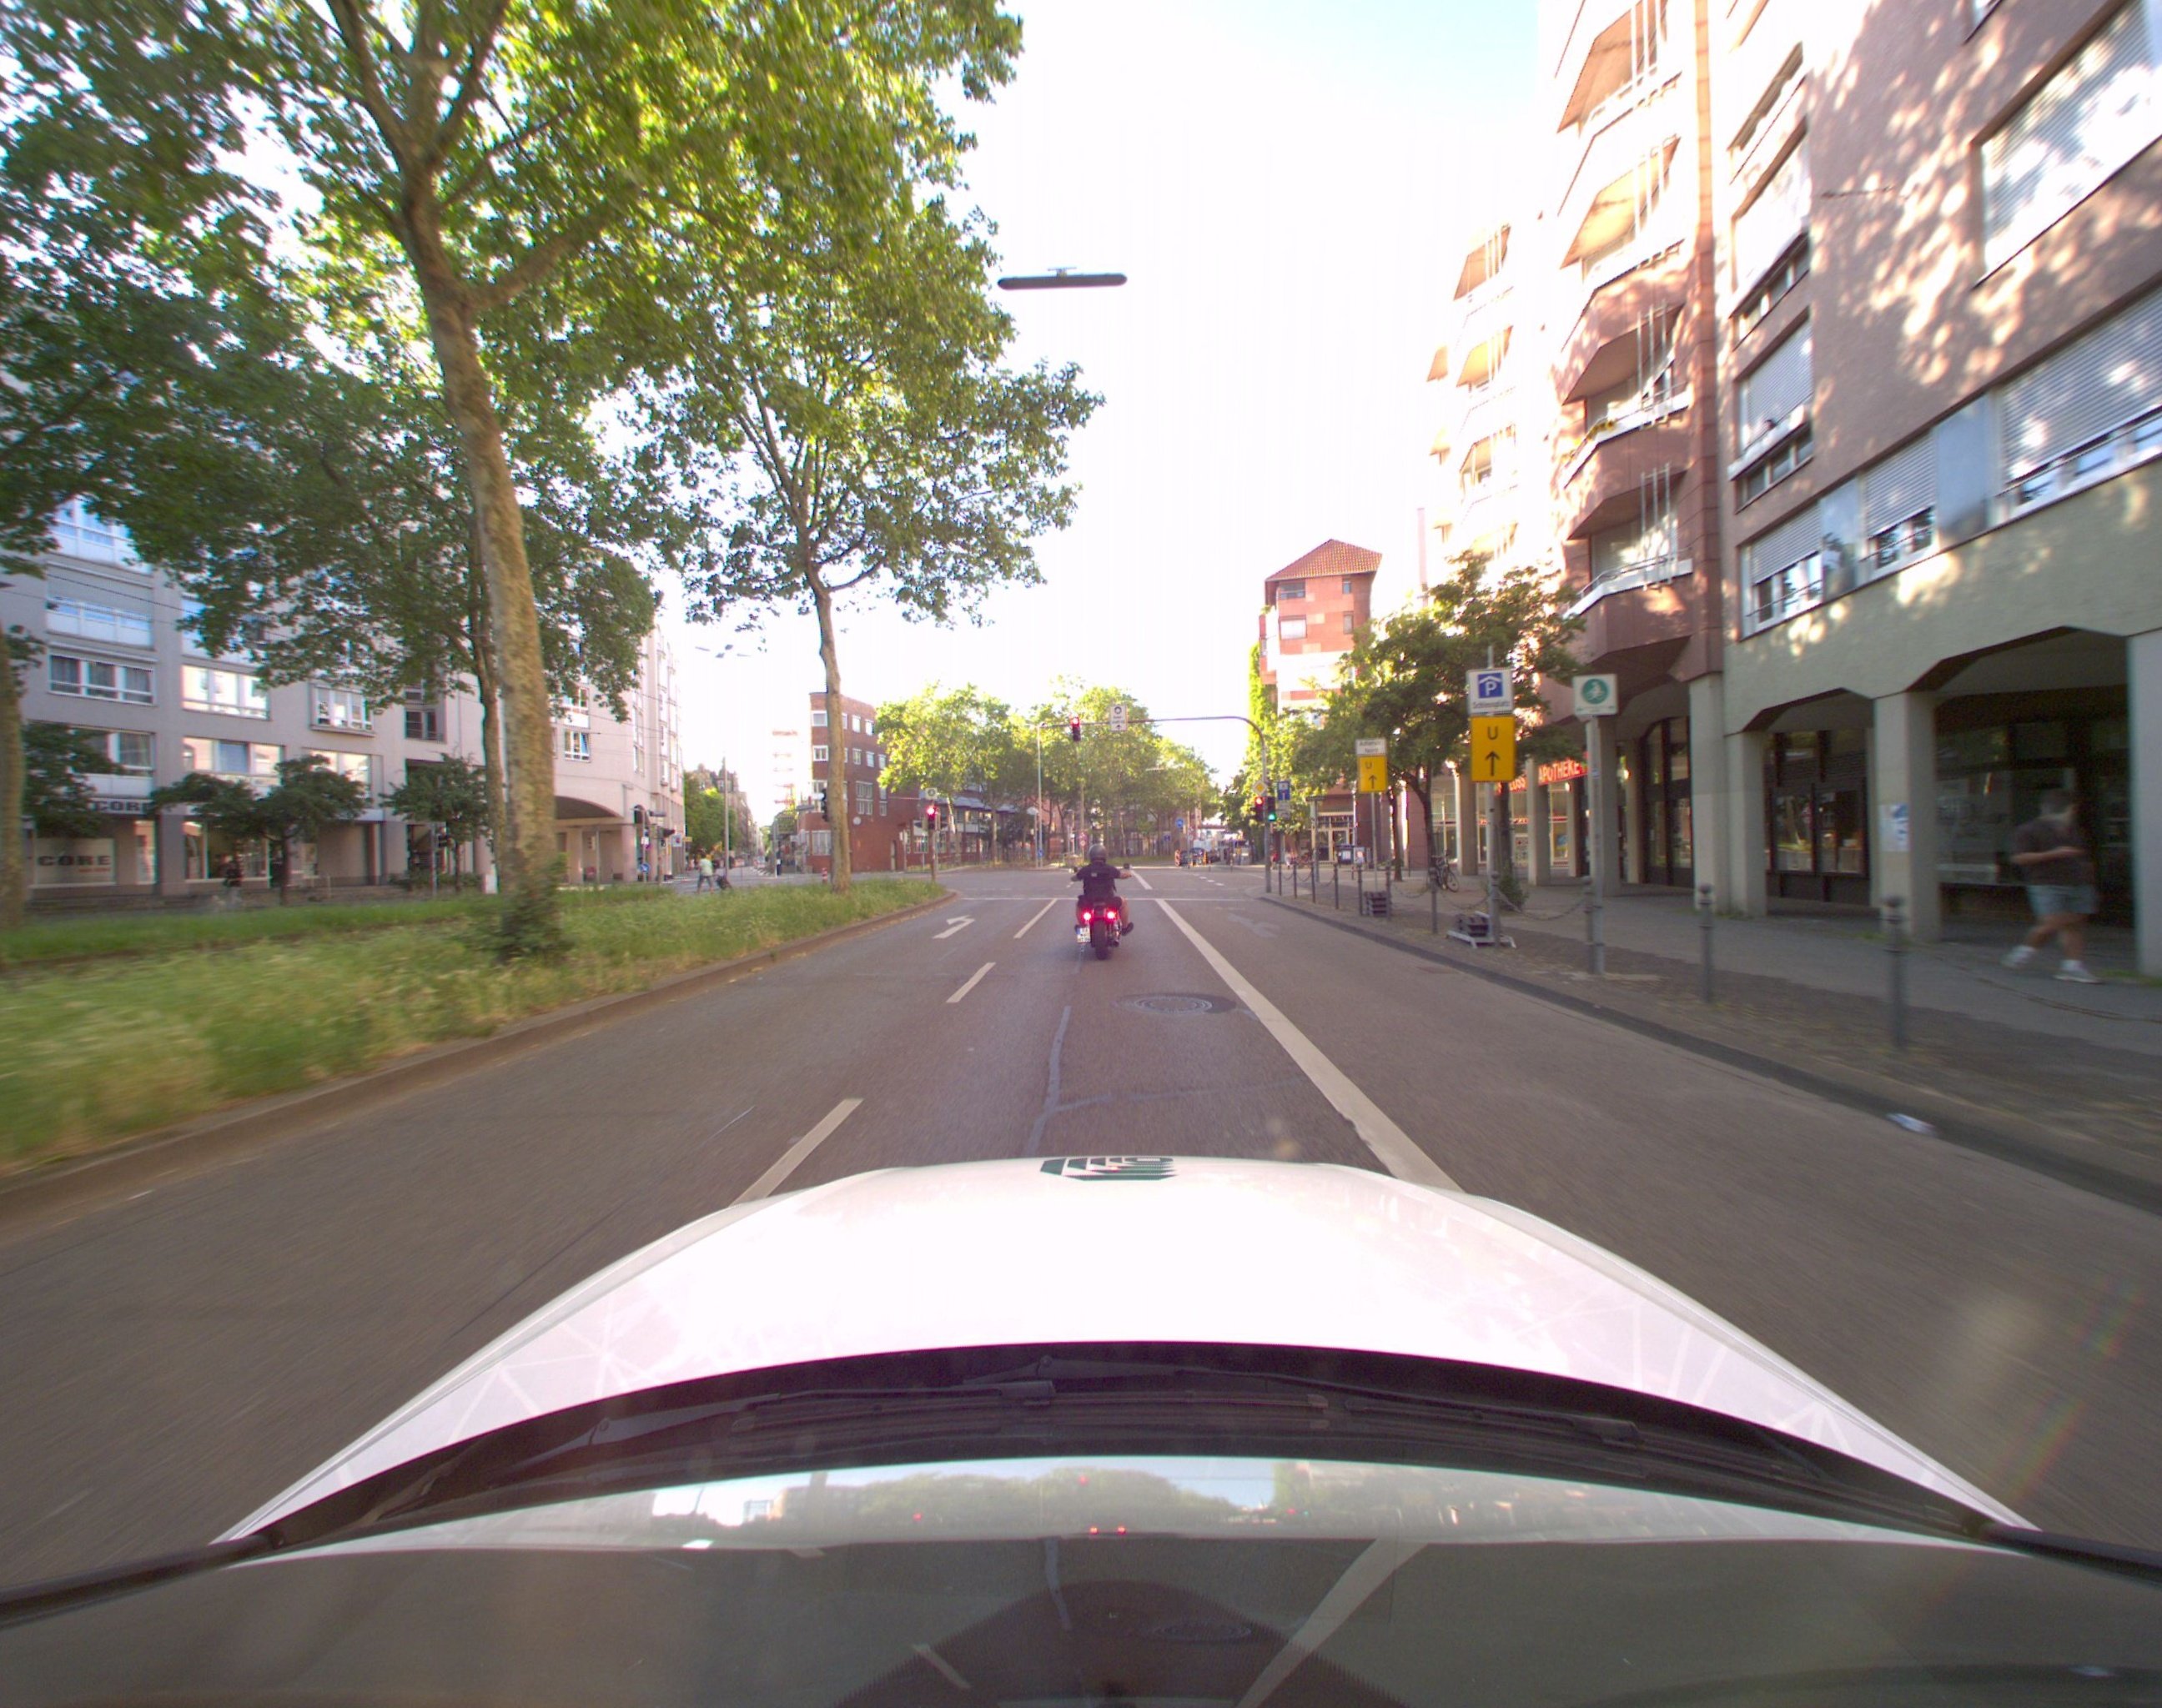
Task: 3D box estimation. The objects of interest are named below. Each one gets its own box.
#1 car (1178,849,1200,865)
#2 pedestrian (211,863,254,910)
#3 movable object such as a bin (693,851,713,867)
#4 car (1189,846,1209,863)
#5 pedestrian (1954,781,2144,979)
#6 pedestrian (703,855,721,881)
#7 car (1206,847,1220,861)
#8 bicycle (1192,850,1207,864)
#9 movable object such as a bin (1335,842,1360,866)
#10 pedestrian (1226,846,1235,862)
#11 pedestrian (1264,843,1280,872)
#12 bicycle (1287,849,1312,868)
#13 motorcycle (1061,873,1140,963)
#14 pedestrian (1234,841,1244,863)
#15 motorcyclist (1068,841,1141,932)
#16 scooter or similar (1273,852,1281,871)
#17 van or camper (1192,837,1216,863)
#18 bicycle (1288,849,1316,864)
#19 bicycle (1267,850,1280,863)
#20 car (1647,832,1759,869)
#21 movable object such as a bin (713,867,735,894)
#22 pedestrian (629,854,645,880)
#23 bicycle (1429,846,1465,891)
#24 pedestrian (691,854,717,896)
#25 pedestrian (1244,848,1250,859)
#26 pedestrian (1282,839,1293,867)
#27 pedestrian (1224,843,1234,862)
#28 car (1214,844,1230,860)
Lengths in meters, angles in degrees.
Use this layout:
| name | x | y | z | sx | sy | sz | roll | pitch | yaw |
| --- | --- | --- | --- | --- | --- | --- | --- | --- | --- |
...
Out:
| name | x | y | z | sx | sy | sz | roll | pitch | yaw |
| --- | --- | --- | --- | --- | --- | --- | --- | --- | --- |
| car | 9.408 | 0.281 | 70.573 | 1.610 | 1.302 | 4.325 | -1 | 0 | 11 |
| pedestrian | -30.580 | 1.157 | 29.357 | 0.702 | 1.638 | 0.791 | -1 | 0 | 12 |
| movable object such as a bin | -54.854 | 0.738 | 118.300 | 1.928 | 2.310 | 2.777 | -2 | 0 | -12 |
| car | 11.654 | 0.054 | 80.398 | 1.609 | 1.619 | 4.500 | -1 | 0 | 12 |
| pedestrian | 9.022 | 0.233 | 7.641 | 0.776 | 1.738 | 0.839 | -1 | 0 | 11 |
| pedestrian | -27.534 | 1.050 | 60.766 | 0.850 | 1.869 | 0.753 | -2 | 0 | 7 |
| car | 16.200 | -0.038 | 99.675 | 1.610 | 1.610 | 3.786 | -1 | 0 | 11 |
| bicycle | 9.268 | 0.260 | 63.616 | 0.736 | 1.053 | 1.748 | -1 | 0 | -6 |
| movable object such as a bin | 16.898 | -0.014 | 51.652 | 1.400 | 1.482 | 0.875 | -1 | 0 | 14 |
| pedestrian | 15.486 | 0.038 | 84.297 | 0.759 | 1.644 | 0.548 | -2 | 0 | 5 |
| pedestrian | 11.860 | 0.196 | 50.536 | 0.783 | 1.763 | 0.609 | -2 | 0 | -1 |
| bicycle | 14.577 | 0.301 | 54.388 | 1.558 | 1.227 | 0.579 | -1 | 0 | 8 |
| motorcycle | 0.319 | 0.864 | 11.639 | 1.013 | 1.097 | 2.009 | -1 | 0 | 3 |
| pedestrian | 12.768 | -0.142 | 65.772 | 0.696 | 1.733 | 0.769 | -1 | 0 | 6 |
| motorcyclist | 0.352 | 0.446 | 11.720 | 1.007 | 1.263 | 0.775 | 1 | 0 | 3 |
| scooter or similar | 12.232 | 0.476 | 50.819 | 0.392 | 1.158 | 1.252 | -2 | 0 | 8 |
| van or camper | 13.186 | -0.437 | 86.899 | 2.035 | 2.540 | 5.793 | -1 | 0 | 13 |
| bicycle | 15.589 | 0.186 | 57.438 | 1.730 | 1.053 | 0.744 | -1 | 0 | 30 |
| bicycle | 14.791 | 0.162 | 62.645 | 0.733 | 0.939 | 1.756 | -1 | 0 | 7 |
| car | 31.647 | -0.184 | 41.525 | 4.158 | 1.722 | 1.807 | -2 | 0 | 11 |
| movable object such as a bin | -13.100 | 0.966 | 29.899 | 0.506 | 0.953 | 0.542 | -1 | 0 | 16 |
| pedestrian | -35.346 | 1.027 | 64.886 | 0.834 | 2.013 | 0.884 | -1 | 0 | -10 |
| bicycle | 10.442 | 0.395 | 23.287 | 0.617 | 1.225 | 1.934 | -1 | 0 | 15 |
| pedestrian | -13.771 | 0.765 | 29.774 | 0.613 | 1.503 | 0.537 | -1 | 0 | 16 |
| pedestrian | 21.116 | -0.035 | 103.459 | 0.760 | 1.445 | 0.782 | -1 | 0 | 11 |
| pedestrian | 12.820 | -0.068 | 50.486 | 0.458 | 1.672 | 0.680 | -2 | 0 | -1 |
| pedestrian | 11.974 | -0.117 | 65.918 | 0.641 | 1.578 | 0.749 | -1 | 0 | 6 |
| car | 19.221 | -0.254 | 110.809 | 1.823 | 2.013 | 4.402 | -1 | 0 | 12 |
